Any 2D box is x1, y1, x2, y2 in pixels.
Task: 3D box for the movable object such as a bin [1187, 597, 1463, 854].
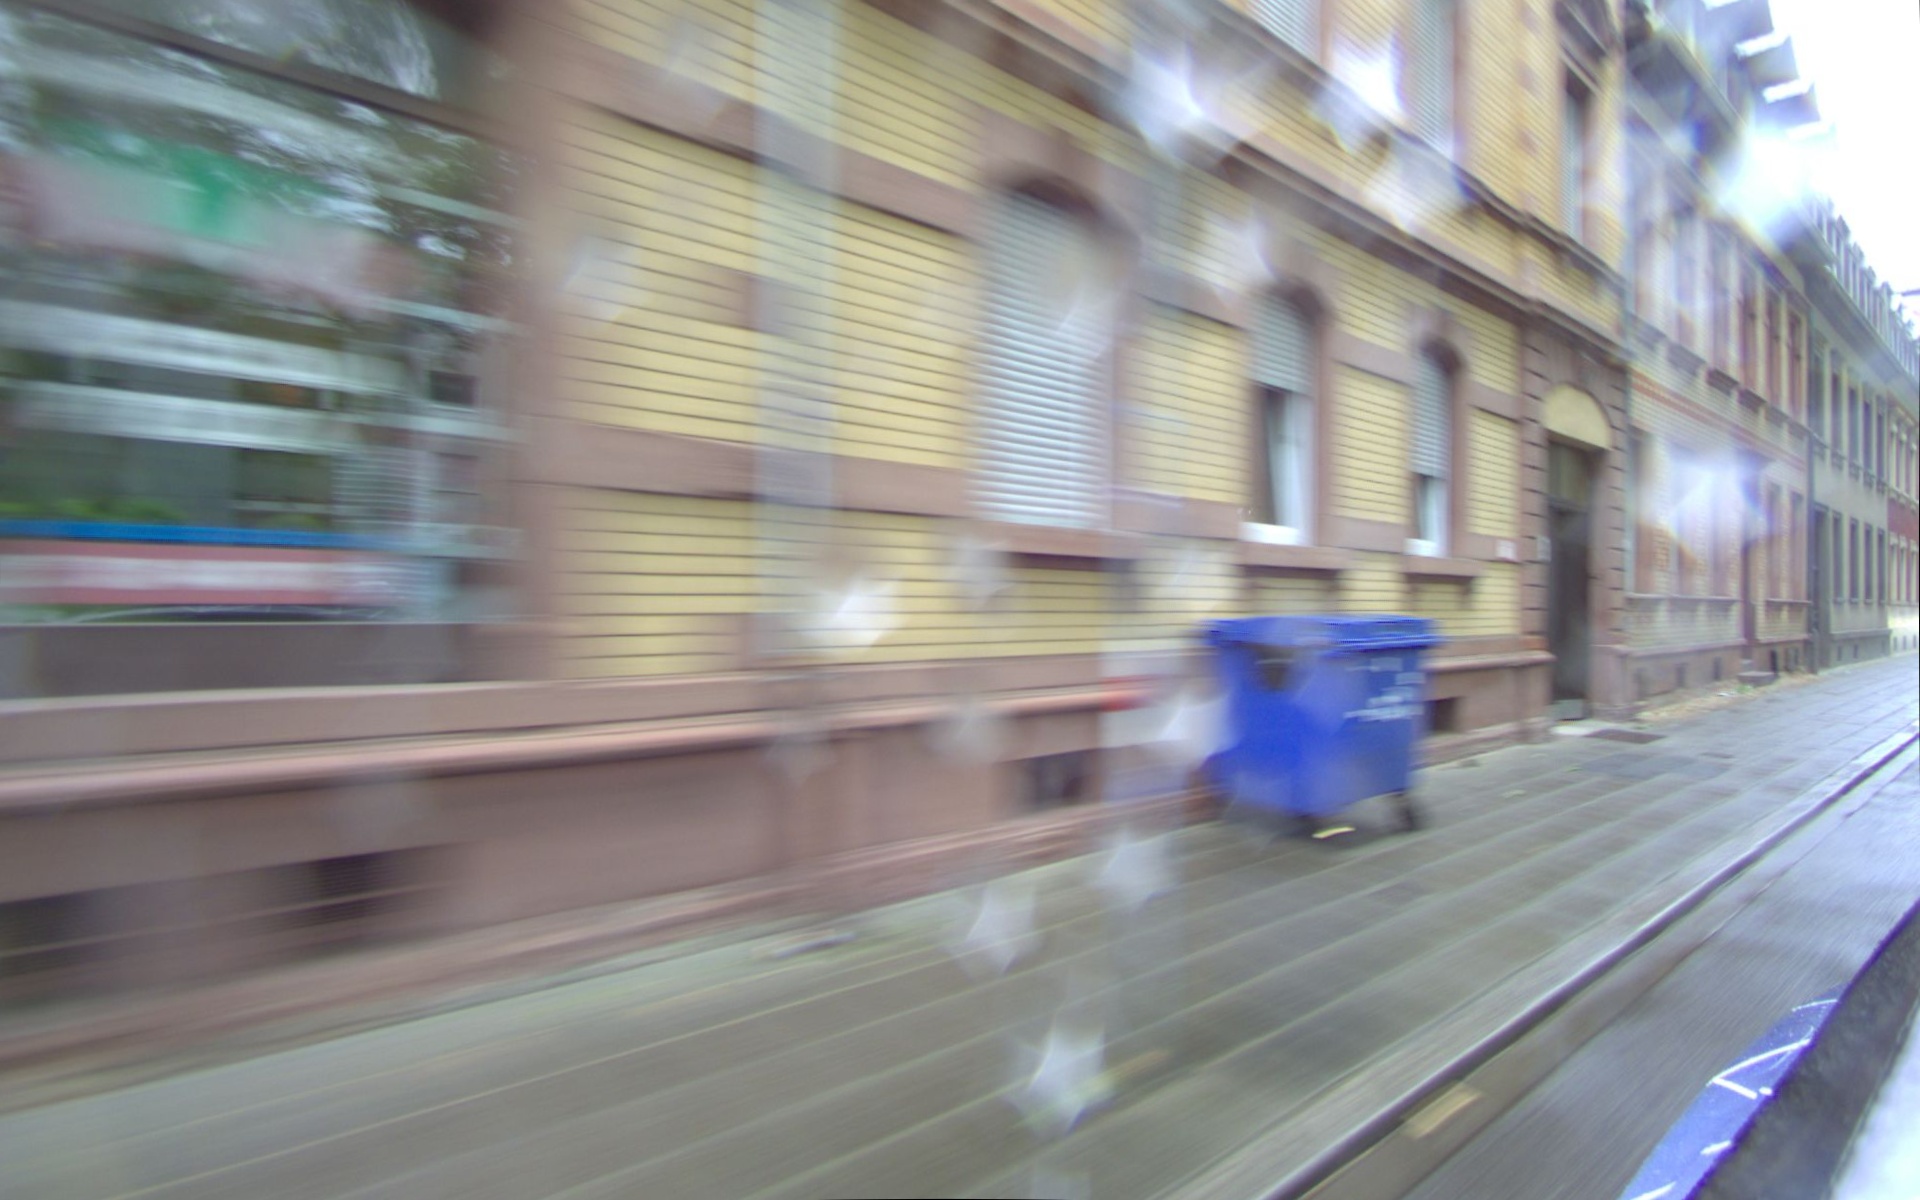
[{"bbox_3d":[2.252,0.679,6.232,1.343,1.317,1.023,1,2,-41],"label":"movable object such as a bin"}]
